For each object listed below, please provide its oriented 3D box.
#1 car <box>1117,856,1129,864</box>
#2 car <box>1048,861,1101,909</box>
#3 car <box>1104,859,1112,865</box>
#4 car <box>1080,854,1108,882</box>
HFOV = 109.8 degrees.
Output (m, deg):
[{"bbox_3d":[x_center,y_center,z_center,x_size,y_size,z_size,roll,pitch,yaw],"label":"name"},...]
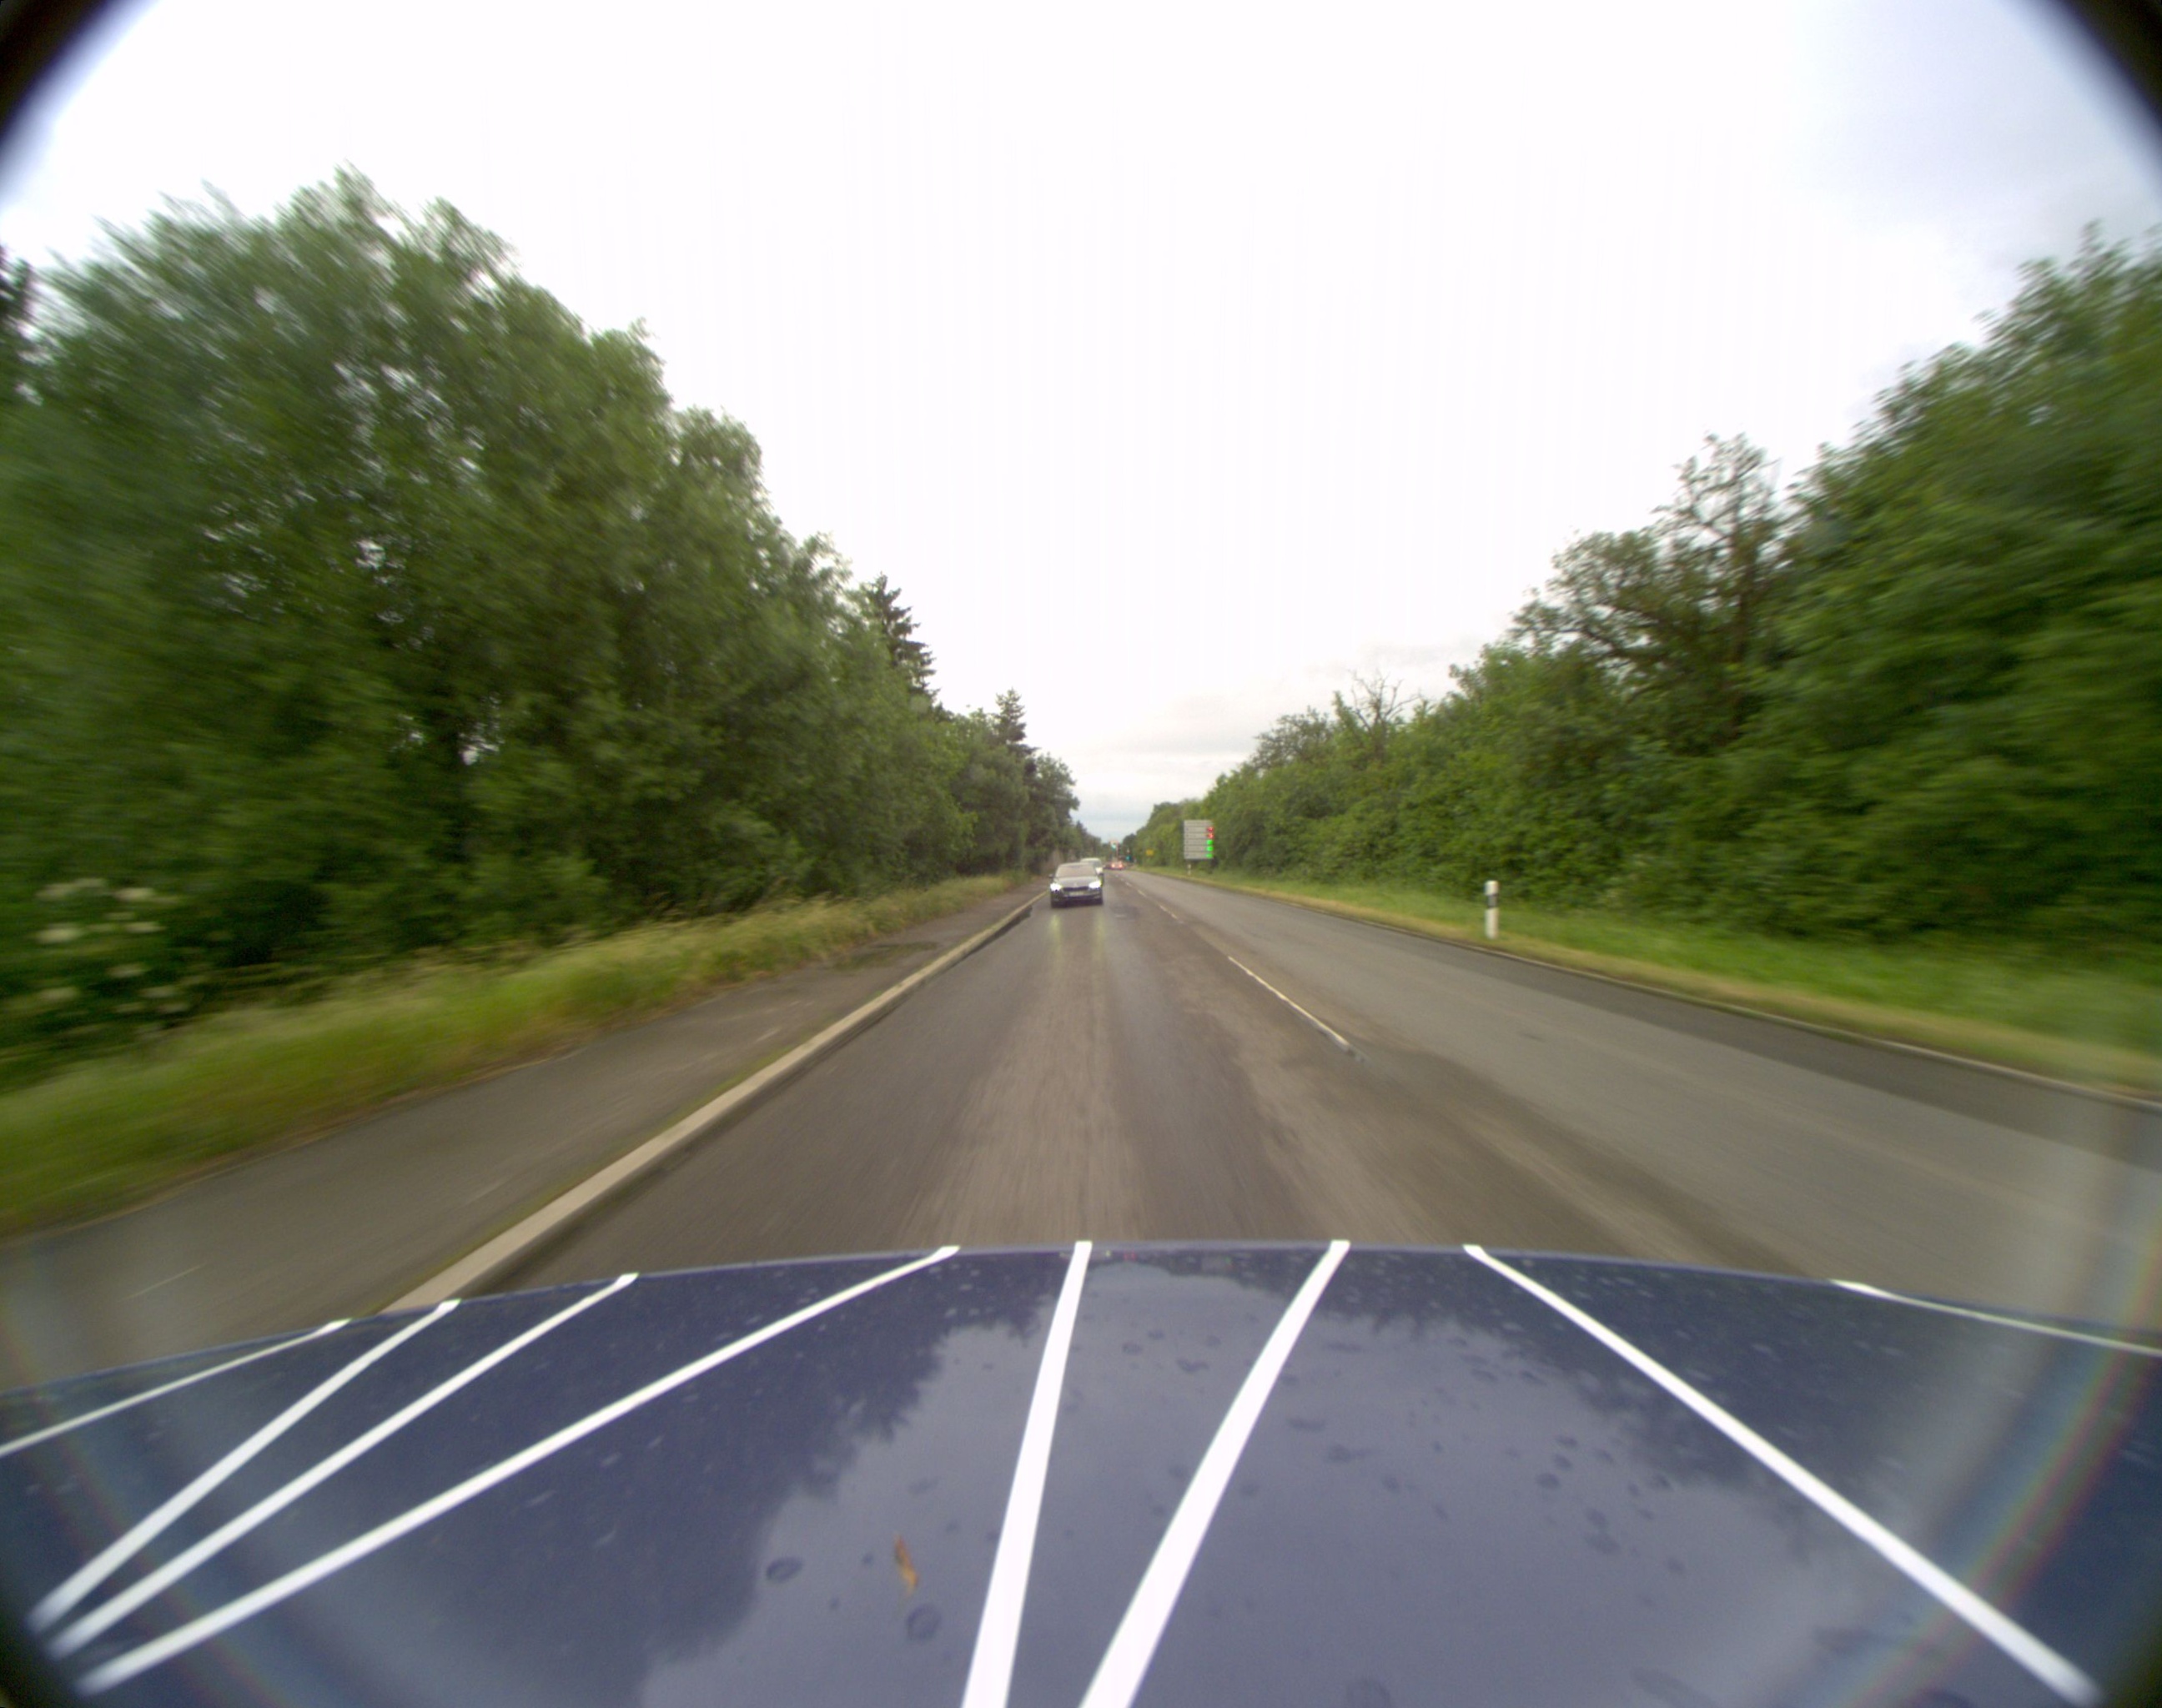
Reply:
[{"bbox_3d":[7.518,1.017,136.152,1.896,1.346,4.382,-1,0,0],"label":"car"},{"bbox_3d":[-0.170,1.032,27.005,1.675,1.477,4.215,-3,-1,1],"label":"car"},{"bbox_3d":[6.546,1.922,185.518,1.737,1.584,4.282,1,-1,0],"label":"car"},{"bbox_3d":[0.807,0.858,48.972,1.704,1.724,4.000,-1,0,0],"label":"car"}]
